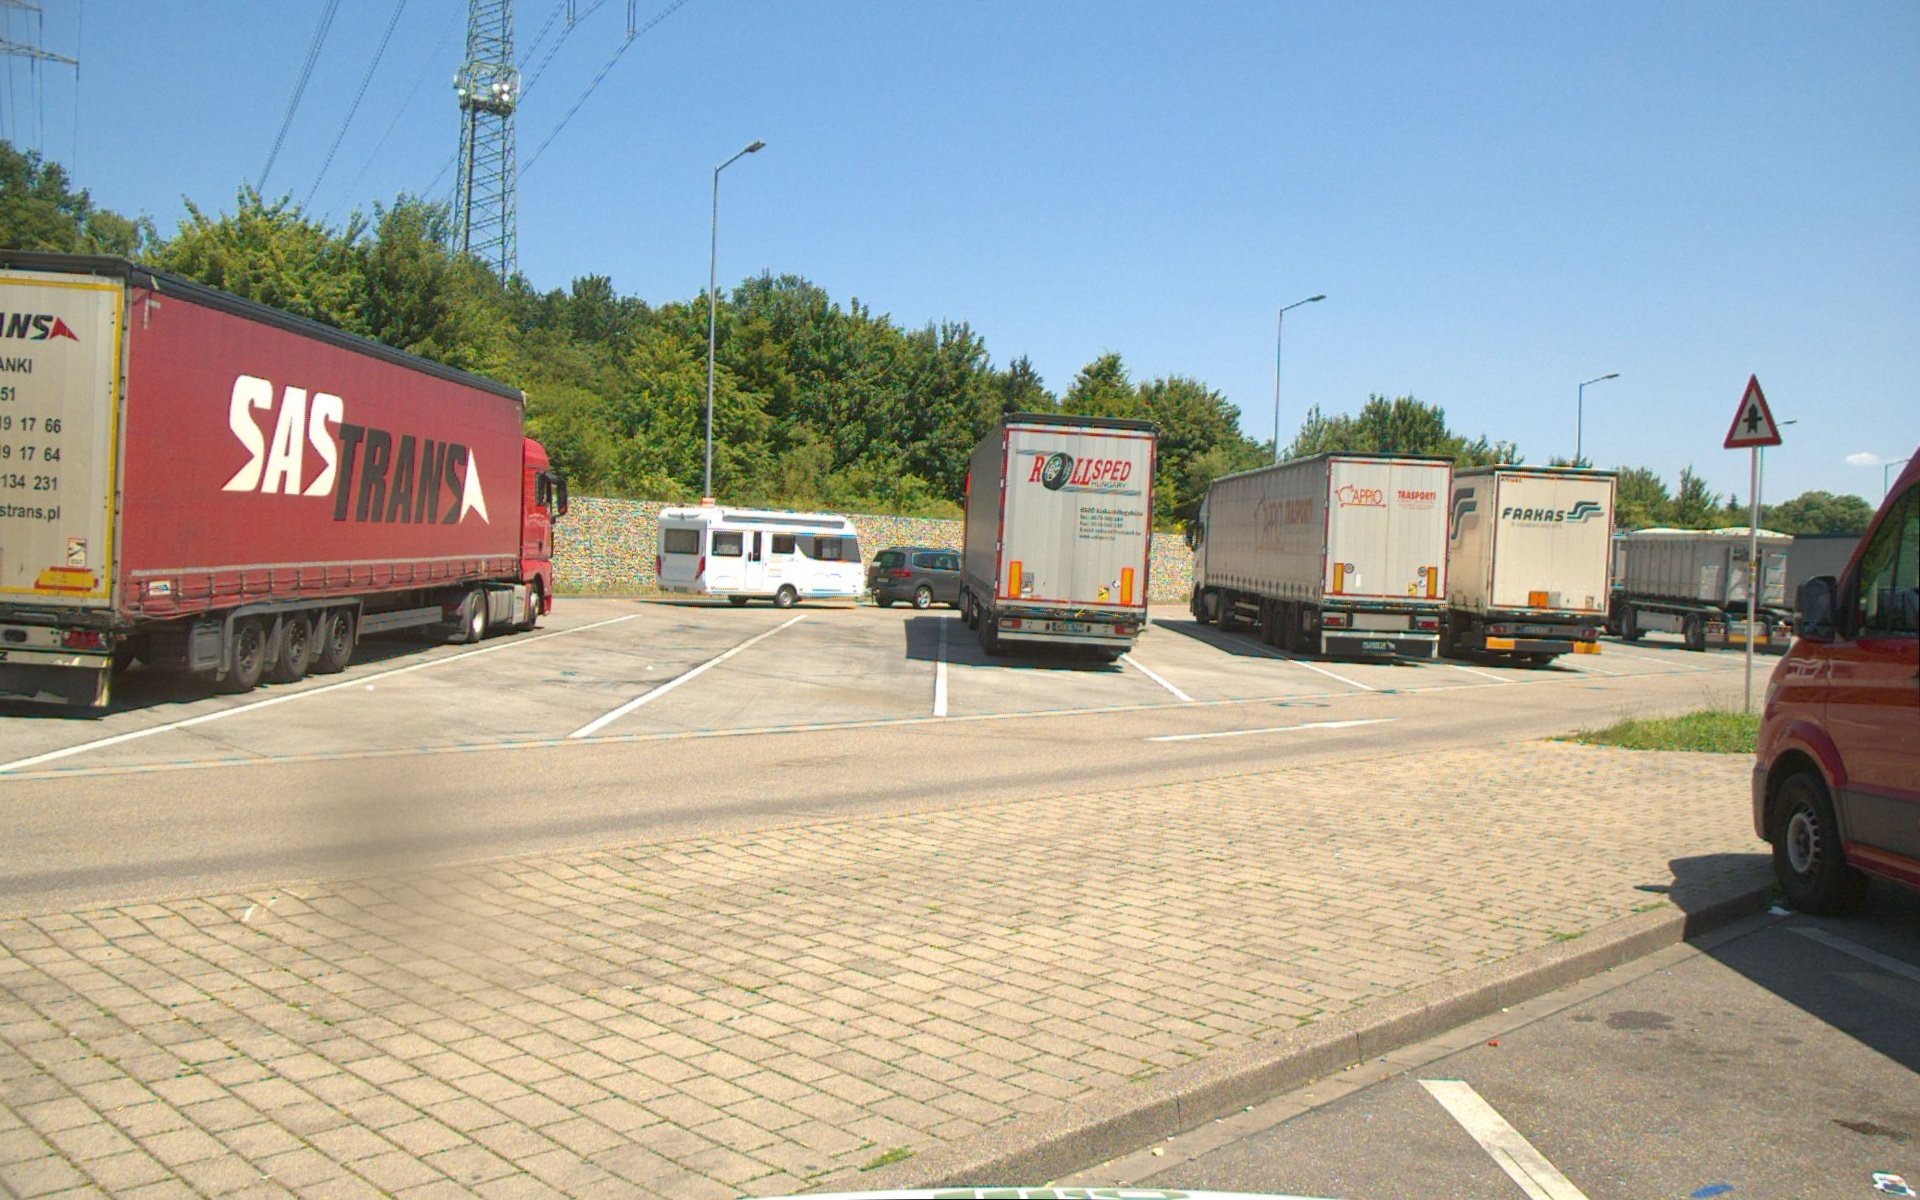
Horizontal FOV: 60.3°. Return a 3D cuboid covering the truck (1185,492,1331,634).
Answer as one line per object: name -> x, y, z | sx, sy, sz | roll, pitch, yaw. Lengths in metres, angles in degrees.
truck -> 8.102, -1.051, 45.636 | 2.794, 3.544, 5.483 | 3, 2, -1

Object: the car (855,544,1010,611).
car -> -0.759, -0.648, 48.614 | 4.474, 1.737, 1.760 | 1, 3, -43

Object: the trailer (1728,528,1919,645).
trailer -> 34.949, -0.637, 65.403 | 2.780, 4.119, 13.726 | 3, 2, 1

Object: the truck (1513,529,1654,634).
truck -> 22.017, -0.719, 58.706 | 2.794, 3.423, 5.484 | 3, 2, 0

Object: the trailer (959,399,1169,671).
trailer -> 1.653, -1.245, 33.238 | 2.848, 4.204, 13.721 | 3, 2, -1

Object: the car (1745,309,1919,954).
car -> 5.006, 0.170, 5.559 | 2.023, 2.742, 6.397 | 1, 1, 4

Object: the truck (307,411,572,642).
truck -> -8.791, -1.230, 28.624 | 2.794, 3.487, 5.483 | 3, 2, -1

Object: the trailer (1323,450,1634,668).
trailer -> 11.774, -1.023, 39.630 | 2.781, 4.204, 13.722 | 3, 2, -1

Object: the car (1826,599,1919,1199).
car -> 2.592, 0.804, 1.155 | 1.703, 1.508, 3.813 | 1, 1, -6

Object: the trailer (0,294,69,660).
trailer -> -12.525, -1.329, 15.706 | 2.673, 4.282, 10.170 | 2, 2, -1

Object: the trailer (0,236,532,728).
trailer -> -8.679, -1.316, 21.188 | 2.848, 4.203, 13.723 | 3, 2, -1

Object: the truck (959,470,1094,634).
truck -> 1.486, -1.161, 39.848 | 2.794, 3.544, 5.483 | 3, 2, -1

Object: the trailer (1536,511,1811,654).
trailer -> 21.934, -0.685, 52.202 | 2.780, 3.781, 13.726 | 3, 2, 1

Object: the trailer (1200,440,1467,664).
trailer -> 8.215, -1.147, 38.826 | 2.781, 4.204, 13.722 | 3, 2, -1

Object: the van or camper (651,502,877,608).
van or camper -> -5.176, -1.168, 44.308 | 5.804, 2.609, 2.235 | 1, 2, -45
